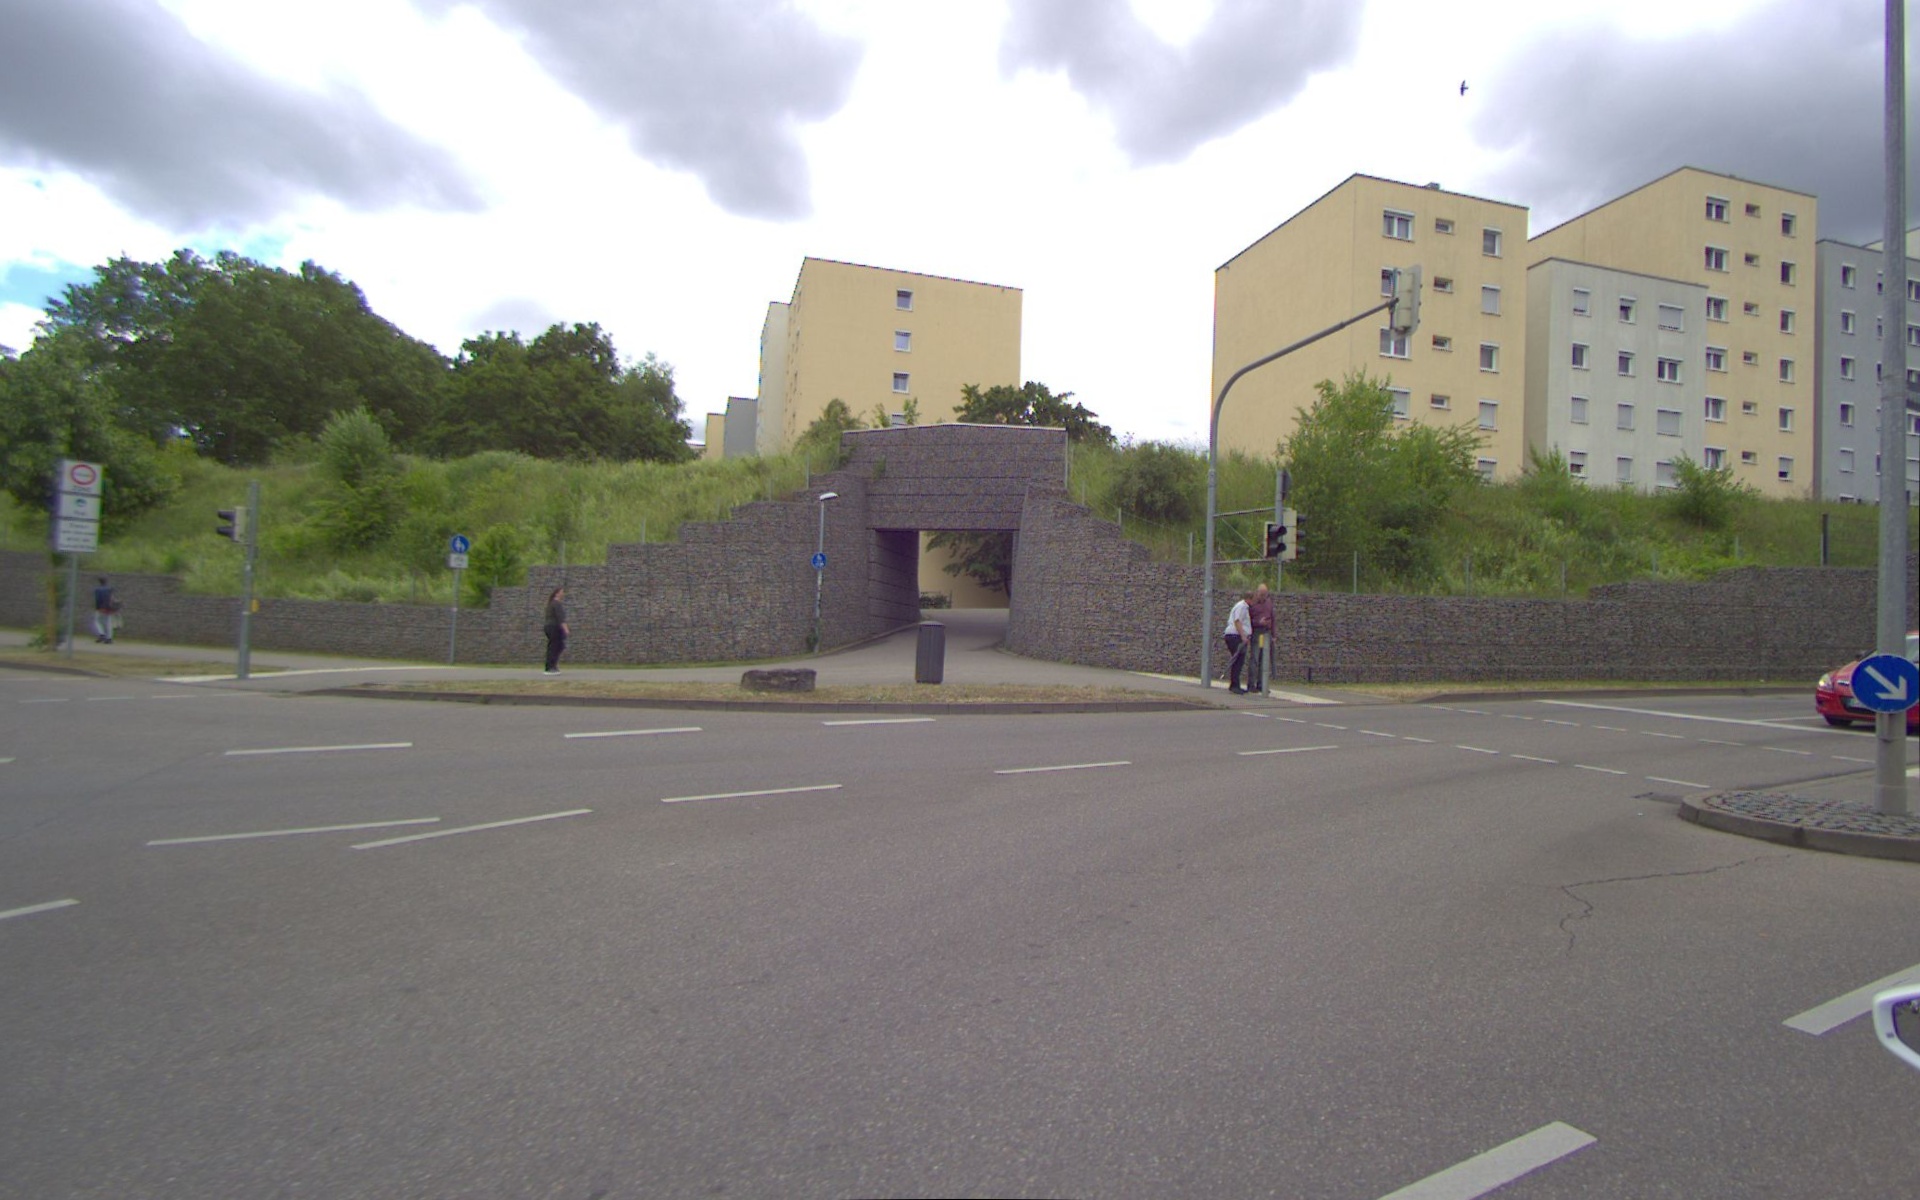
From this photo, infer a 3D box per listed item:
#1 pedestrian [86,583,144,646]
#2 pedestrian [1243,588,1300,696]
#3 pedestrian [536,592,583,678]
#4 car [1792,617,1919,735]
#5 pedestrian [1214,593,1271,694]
[{"bbox_3d":[-21.980,0.383,26.138,0.883,1.578,0.801,2,0,22],"label":"pedestrian"},{"bbox_3d":[5.453,0.734,17.586,0.656,1.851,0.620,2,0,-25],"label":"pedestrian"},{"bbox_3d":[-7.467,0.646,18.717,0.619,1.578,0.573,2,0,-41],"label":"pedestrian"},{"bbox_3d":[14.474,1.109,14.773,4.033,1.543,1.751,2,-1,-22],"label":"car"},{"bbox_3d":[4.853,0.738,17.267,0.656,1.701,0.620,2,0,-25],"label":"pedestrian"}]
